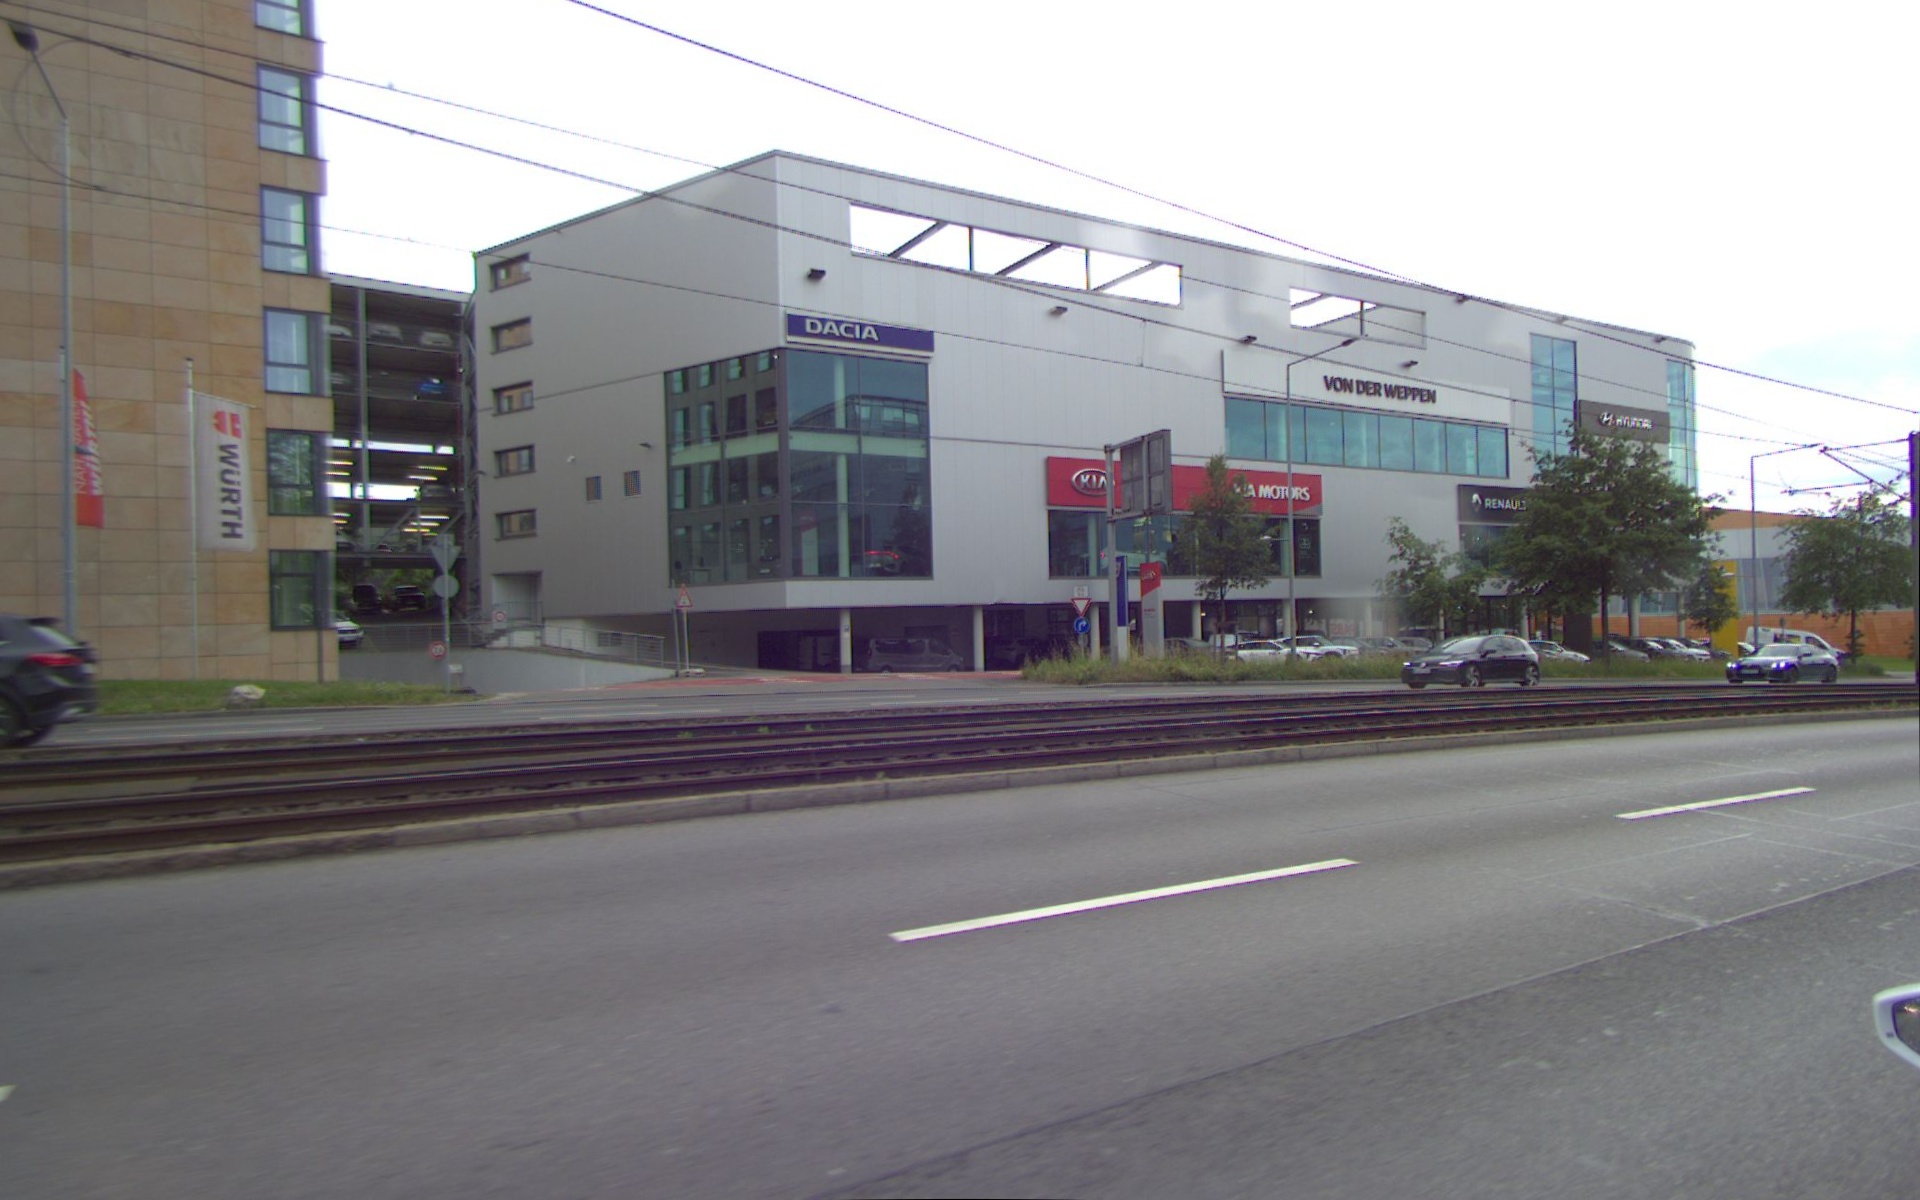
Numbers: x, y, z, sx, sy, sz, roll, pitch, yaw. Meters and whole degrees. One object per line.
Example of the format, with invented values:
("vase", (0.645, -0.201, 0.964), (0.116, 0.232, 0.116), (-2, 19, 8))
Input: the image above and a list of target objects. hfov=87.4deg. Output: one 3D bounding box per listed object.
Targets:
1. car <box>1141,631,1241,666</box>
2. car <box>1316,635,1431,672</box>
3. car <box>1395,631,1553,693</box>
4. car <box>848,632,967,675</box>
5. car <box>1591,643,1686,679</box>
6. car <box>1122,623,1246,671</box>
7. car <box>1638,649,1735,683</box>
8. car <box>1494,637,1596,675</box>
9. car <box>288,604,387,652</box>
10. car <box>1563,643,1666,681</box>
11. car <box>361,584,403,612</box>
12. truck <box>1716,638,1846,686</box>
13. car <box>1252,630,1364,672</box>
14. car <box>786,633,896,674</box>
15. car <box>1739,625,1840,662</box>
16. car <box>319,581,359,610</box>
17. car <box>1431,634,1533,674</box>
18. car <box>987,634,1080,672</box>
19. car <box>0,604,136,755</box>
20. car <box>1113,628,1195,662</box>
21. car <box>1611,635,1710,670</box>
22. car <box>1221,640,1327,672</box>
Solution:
("car", (11.652, 2.424, 50.645), (4.552, 1.686, 2.018), (0, -2, 27))
("car", (20.657, 2.643, 50.268), (4.950, 1.675, 2.008), (-1, -3, 44))
("car", (13.683, 1.648, 26.717), (4.186, 1.481, 1.661), (2, -1, -28))
("car", (-2.306, 2.315, 44.284), (4.883, 1.748, 1.984), (2, -1, -30))
("car", (40.114, 3.587, 59.479), (1.854, 2.002, 4.324), (2, -2, -32))
("car", (9.612, 1.998, 43.360), (4.903, 1.958, 2.008), (-1, -3, 44))
("car", (45.471, 4.101, 62.964), (1.998, 2.002, 4.576), (2, -2, -32))
("car", (32.675, 3.116, 56.194), (2.002, 2.002, 4.566), (2, -2, -38))
("car", (-27.757, 1.256, 44.804), (3.925, 1.918, 1.882), (1, -3, 27))
("car", (37.727, 3.554, 58.003), (1.998, 2.002, 4.576), (2, -2, -32))
("car", (-38.595, -0.108, 67.089), (1.897, 1.708, 3.958), (5, -4, -36))
("truck", (28.779, 2.204, 35.208), (4.536, 1.588, 1.934), (3, -4, -28))
("car", (16.266, 2.351, 47.042), (4.574, 1.851, 2.008), (-1, -3, 44))
("car", (-5.697, 2.533, 48.374), (4.886, 1.815, 1.982), (2, -1, -32))
("car", (57.994, 3.006, 70.290), (2.006, 2.343, 5.252), (3, -1, -43))
("car", (-41.487, -0.255, 67.052), (1.897, 1.708, 3.849), (5, -4, -36))
("car", (28.019, 2.887, 53.966), (4.550, 2.002, 2.010), (-1, -3, 42))
("car", (4.040, 2.885, 55.064), (4.886, 1.936, 1.982), (2, -1, -32))
("car", (-12.081, 0.831, 11.085), (4.337, 1.637, 1.796), (3, -1, -32))
("car", (11.644, 2.693, 60.122), (4.792, 1.936, 1.982), (2, -1, -32))
("car", (42.665, 3.165, 61.259), (1.998, 2.002, 4.576), (2, -2, -32))
("car", (14.270, 2.527, 45.759), (4.267, 1.324, 1.865), (-1, -2, 37))
